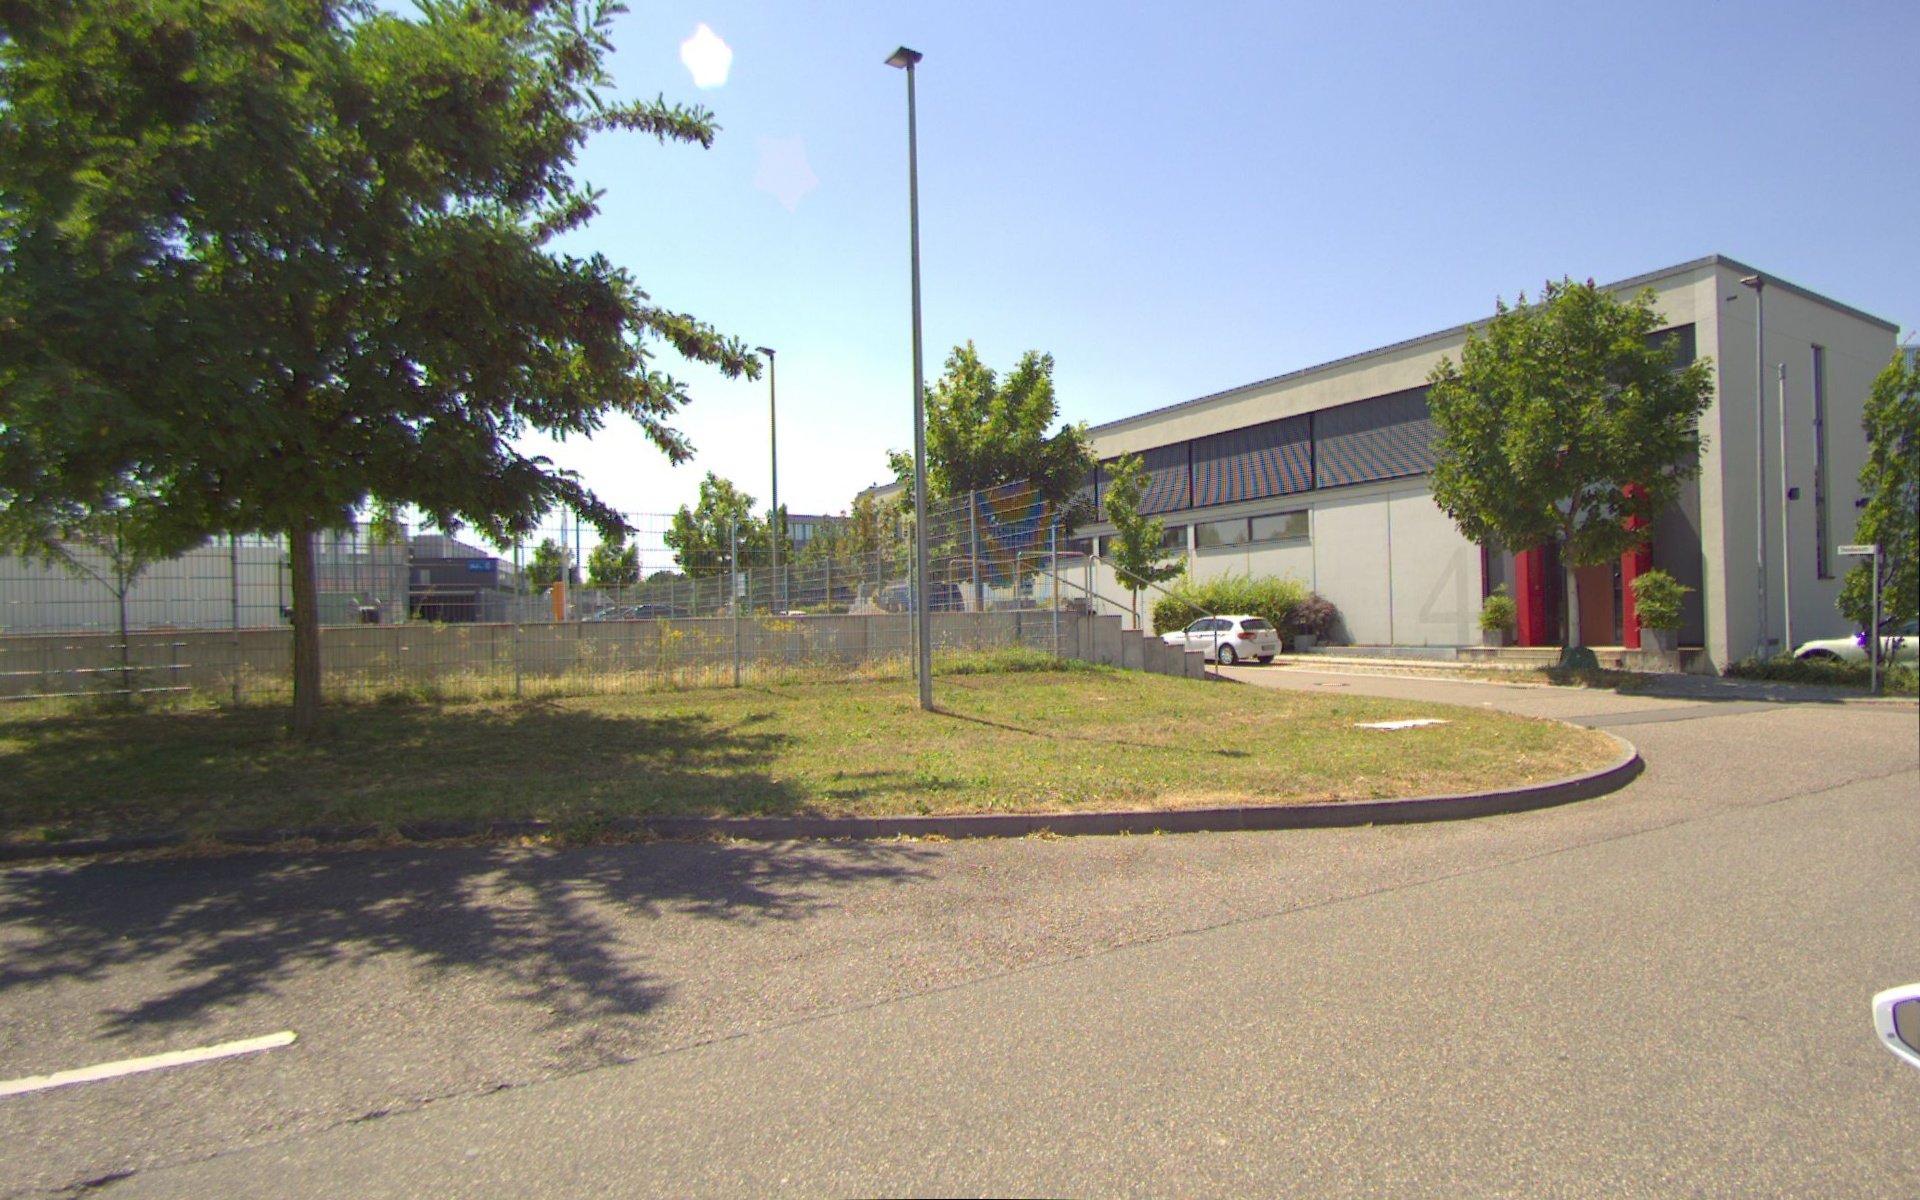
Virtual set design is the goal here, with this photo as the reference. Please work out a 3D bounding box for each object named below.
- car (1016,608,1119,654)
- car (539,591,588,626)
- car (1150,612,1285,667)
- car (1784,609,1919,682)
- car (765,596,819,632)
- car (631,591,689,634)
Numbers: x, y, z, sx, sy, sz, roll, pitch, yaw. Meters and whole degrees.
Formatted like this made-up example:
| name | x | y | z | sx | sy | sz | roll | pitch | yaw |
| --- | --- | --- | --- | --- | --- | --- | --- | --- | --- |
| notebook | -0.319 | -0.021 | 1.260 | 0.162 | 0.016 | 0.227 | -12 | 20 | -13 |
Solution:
| name | x | y | z | sx | sy | sz | roll | pitch | yaw |
| --- | --- | --- | --- | --- | --- | --- | --- | --- | --- |
| car | 4.057 | 1.141 | 38.394 | 1.791 | 1.558 | 3.963 | -3 | 2 | -34 |
| car | -23.651 | 0.497 | 59.865 | 2.256 | 2.040 | 3.970 | 0 | 0 | -28 |
| car | 7.772 | 1.142 | 30.663 | 1.637 | 1.427 | 3.981 | -3 | 1 | -30 |
| car | 20.439 | 0.959 | 21.513 | 1.711 | 1.514 | 4.021 | 1 | -1 | -34 |
| car | -10.174 | 0.810 | 60.737 | 1.947 | 2.041 | 3.969 | -3 | 1 | -29 |
| car | -14.984 | 0.605 | 50.084 | 1.951 | 2.040 | 3.969 | 1 | 0 | -29 |
